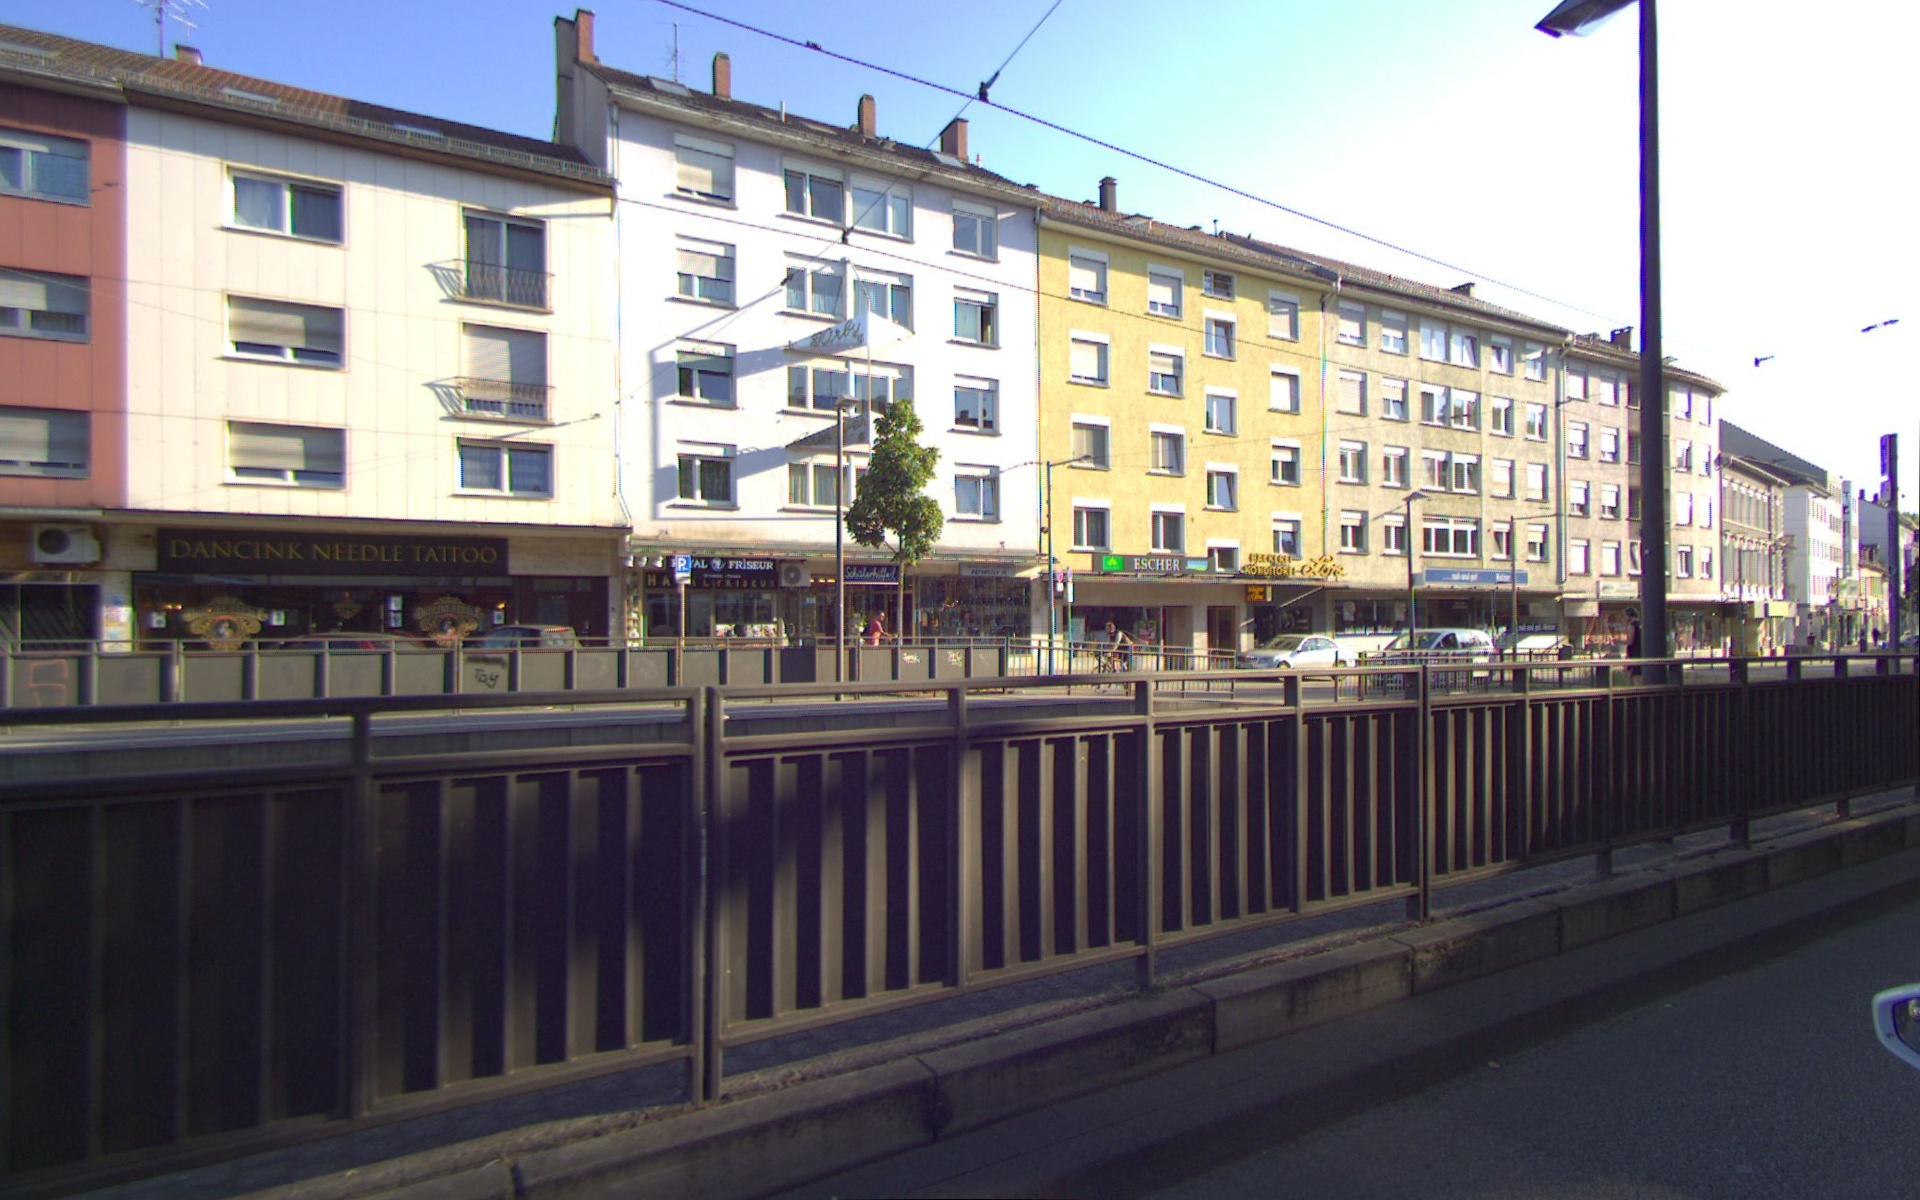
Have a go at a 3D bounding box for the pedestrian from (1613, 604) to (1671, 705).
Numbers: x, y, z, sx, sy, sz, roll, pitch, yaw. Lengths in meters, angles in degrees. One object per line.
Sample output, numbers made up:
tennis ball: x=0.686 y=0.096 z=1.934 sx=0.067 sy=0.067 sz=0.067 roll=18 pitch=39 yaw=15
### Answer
pedestrian: x=12.990 y=1.028 z=19.138 sx=0.584 sy=1.873 sz=0.736 roll=1 pitch=-1 yaw=-35

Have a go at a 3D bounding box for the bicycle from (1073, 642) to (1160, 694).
bicycle: x=3.945 y=1.677 z=25.242 sx=2.252 sy=1.246 sz=0.714 roll=1 pitch=-2 yaw=-31

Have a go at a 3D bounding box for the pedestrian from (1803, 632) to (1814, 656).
pedestrian: x=60.467 y=3.139 z=71.586 sx=0.502 sy=1.736 sz=0.423 roll=1 pitch=-1 yaw=-33

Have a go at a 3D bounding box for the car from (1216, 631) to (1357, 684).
car: x=10.425 y=1.782 z=31.995 sx=4.364 sy=1.498 sz=1.982 roll=1 pitch=0 yaw=-33

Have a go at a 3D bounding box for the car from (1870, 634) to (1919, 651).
car: x=83.040 y=3.724 z=87.987 sx=4.461 sy=1.431 sz=2.001 roll=0 pitch=-1 yaw=17

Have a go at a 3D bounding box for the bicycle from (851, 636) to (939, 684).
bicycle: x=-1.699 y=1.556 z=26.275 sx=2.167 sy=1.174 sz=0.704 roll=0 pitch=1 yaw=-24

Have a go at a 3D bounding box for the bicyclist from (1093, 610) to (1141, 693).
bicyclist: x=3.947 y=1.277 z=25.254 sx=0.901 sy=2.040 sz=0.760 roll=1 pitch=-2 yaw=-31

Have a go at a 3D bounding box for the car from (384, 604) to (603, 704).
car: x=-9.688 y=1.076 z=21.004 sx=3.693 sy=1.824 sz=1.865 roll=2 pitch=1 yaw=8

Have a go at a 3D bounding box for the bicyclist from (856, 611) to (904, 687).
bicyclist: x=-2.089 y=1.252 z=26.101 sx=1.043 sy=1.912 sz=0.691 roll=1 pitch=1 yaw=-23

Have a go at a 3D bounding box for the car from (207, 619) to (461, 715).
car: x=-11.668 y=1.202 z=18.854 sx=3.693 sy=1.511 sz=1.865 roll=2 pitch=1 yaw=8

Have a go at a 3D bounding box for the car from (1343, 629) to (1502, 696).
car: x=12.944 y=1.681 z=28.070 sx=4.386 sy=1.739 sz=1.983 roll=1 pitch=-2 yaw=-32
